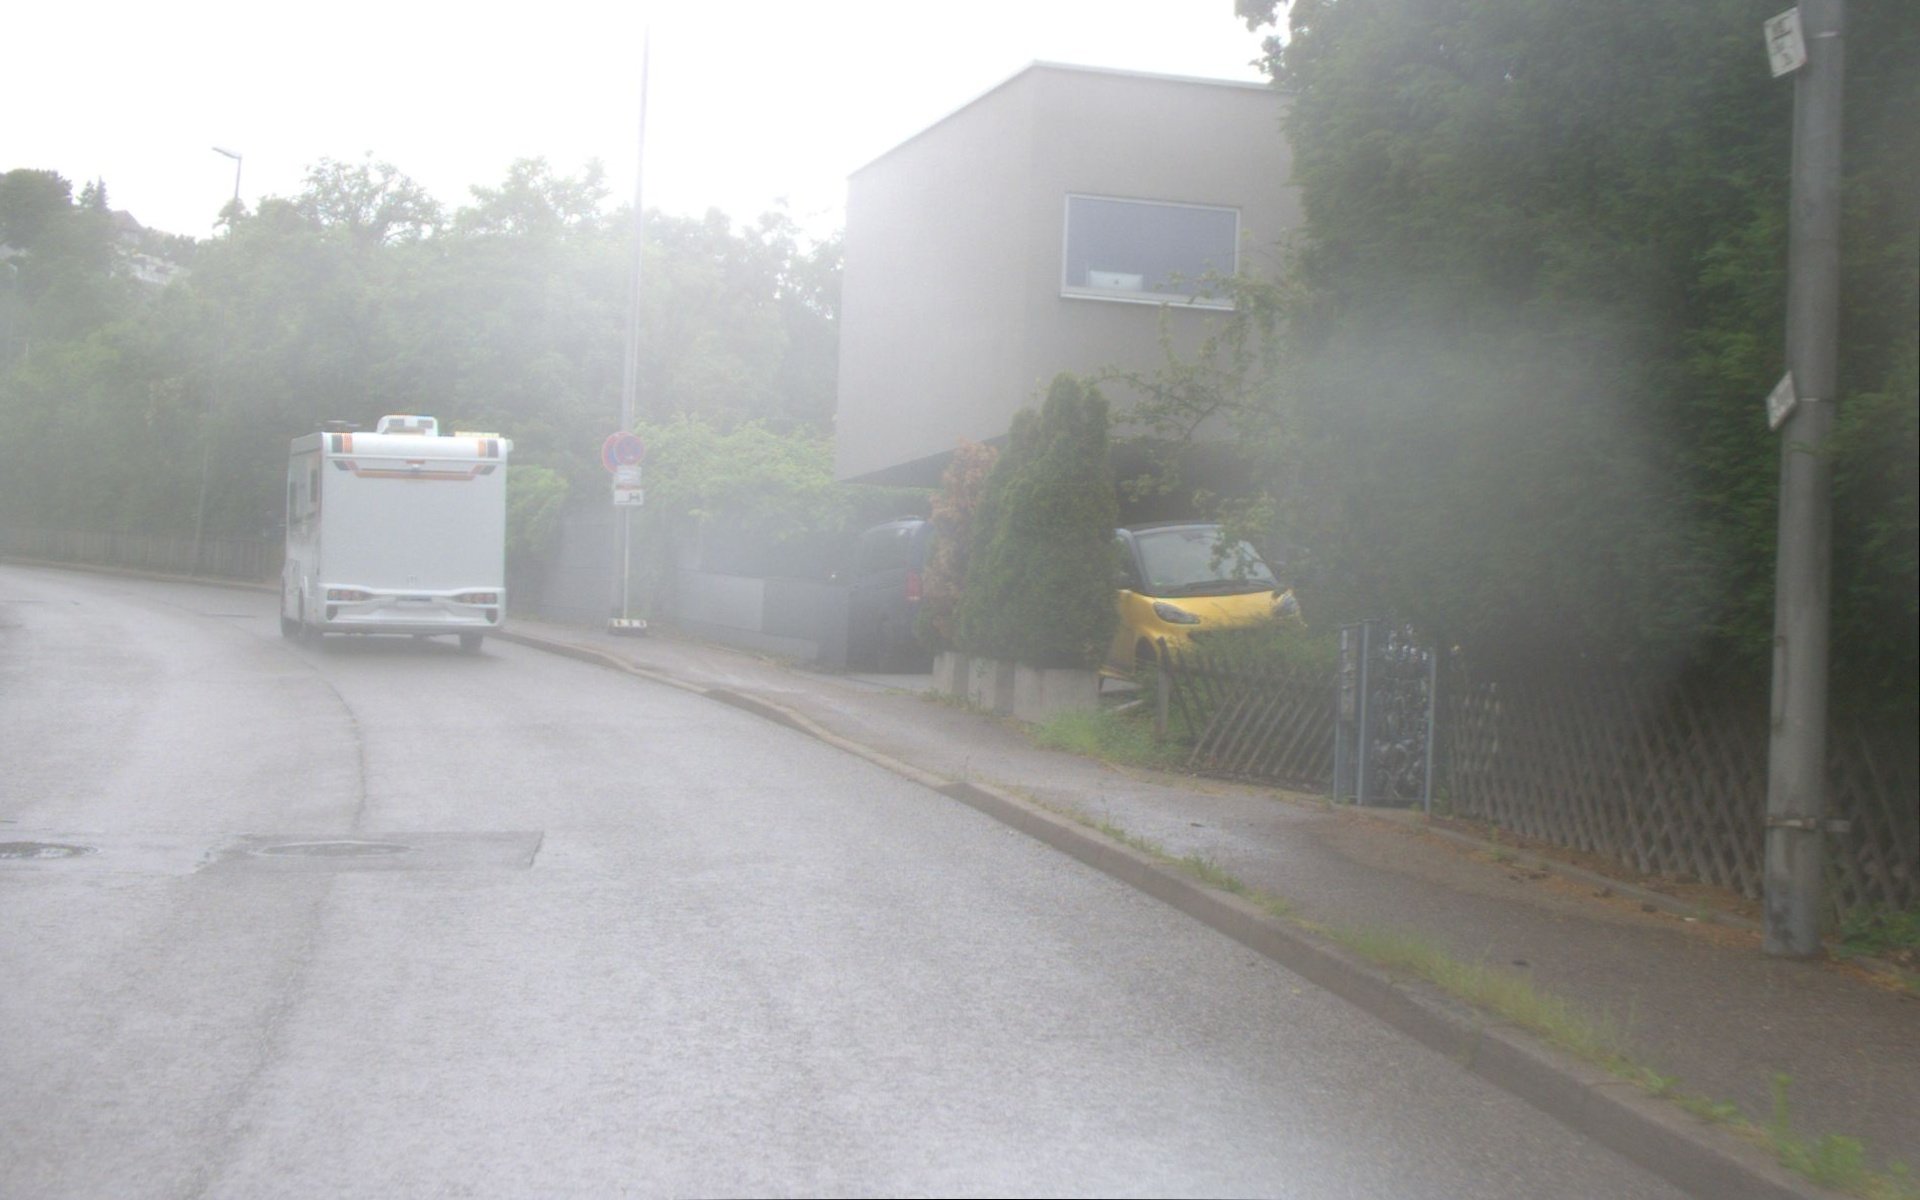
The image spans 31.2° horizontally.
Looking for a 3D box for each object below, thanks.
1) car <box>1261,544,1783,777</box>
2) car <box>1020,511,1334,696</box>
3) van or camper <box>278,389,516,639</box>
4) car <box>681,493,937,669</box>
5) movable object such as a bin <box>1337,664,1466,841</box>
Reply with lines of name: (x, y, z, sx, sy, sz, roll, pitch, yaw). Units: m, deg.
car: (4.322, 0.487, 26.282, 3.762, 1.655, 1.776, 1, -2, -35)
car: (1.911, 0.006, 31.274, 1.627, 1.488, 3.428, -4, 2, -18)
van or camper: (-7.238, -1.039, 43.639, 2.539, 2.915, 5.950, 1, 0, -13)
car: (-1.912, -0.166, 41.829, 1.993, 1.934, 4.774, 2, -2, -16)
movable object such as a bin: (2.583, 0.887, 20.148, 0.504, 0.966, 0.595, 5, 0, -11)
